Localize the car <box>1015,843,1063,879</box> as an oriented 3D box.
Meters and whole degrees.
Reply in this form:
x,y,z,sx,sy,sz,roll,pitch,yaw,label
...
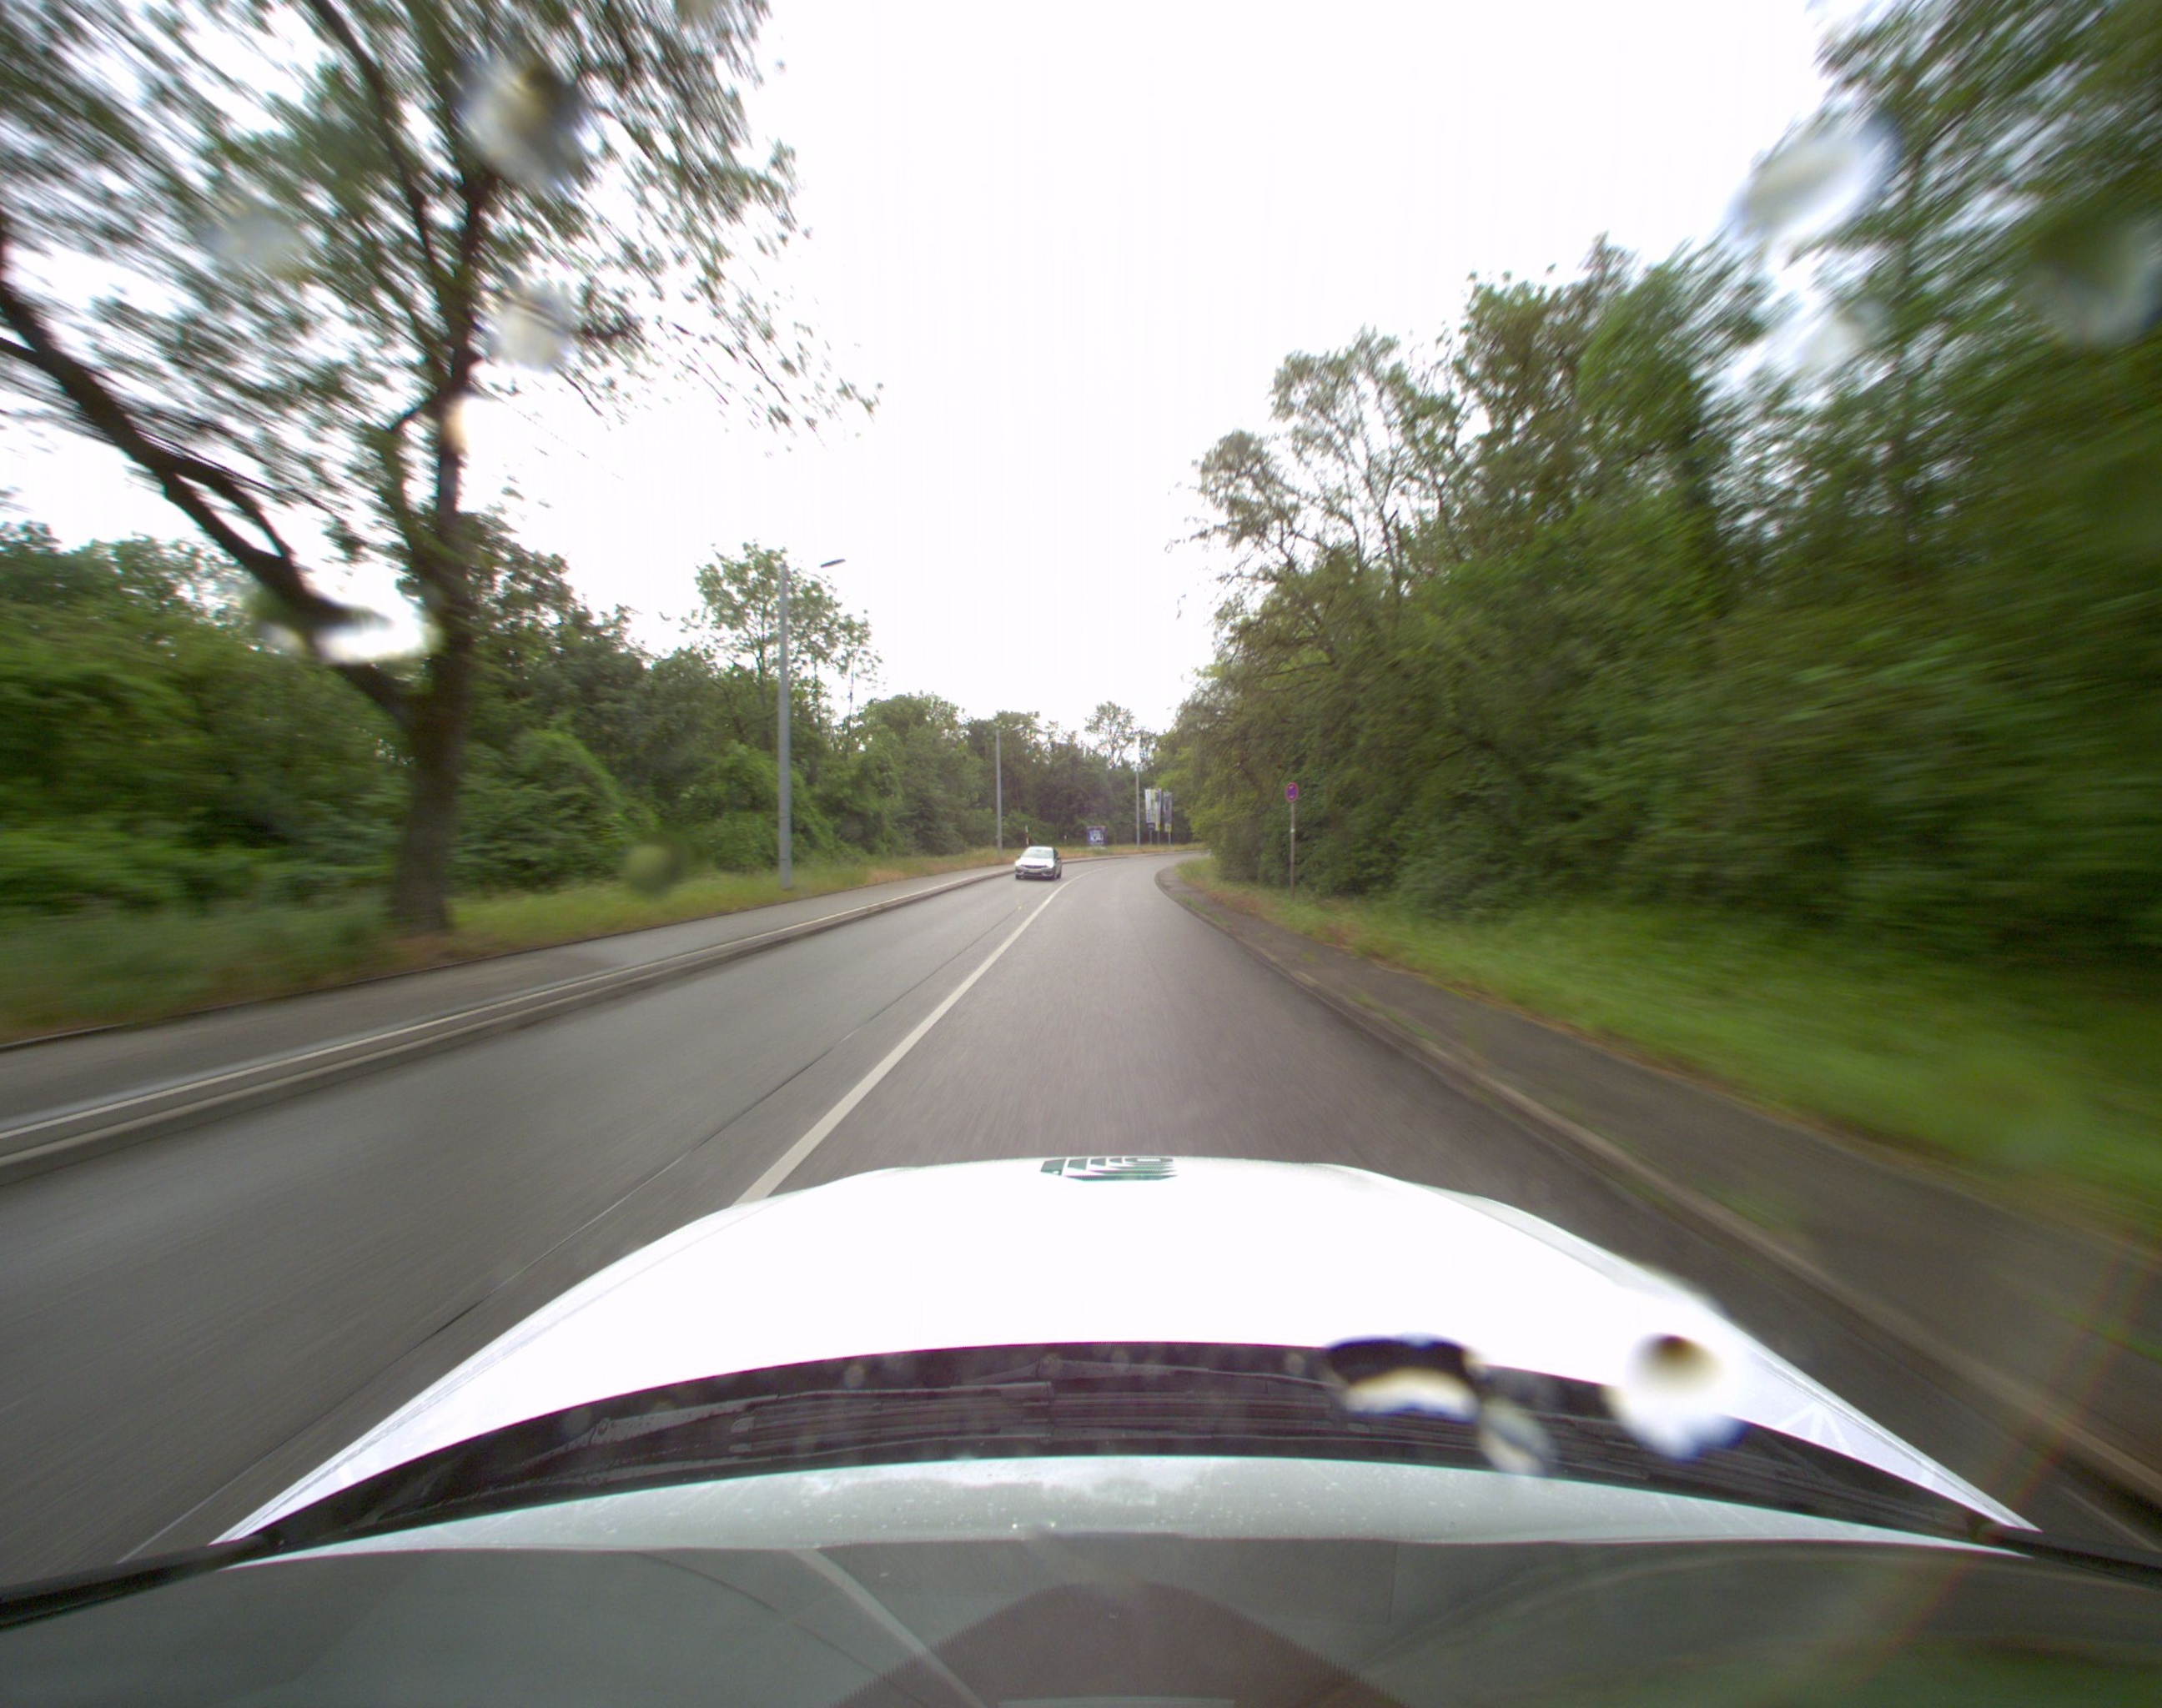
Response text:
x,y,z,sx,sy,sz,roll,pitch,yaw,label
-1.879,0.278,37.980,1.773,1.430,4.478,2,2,2,car
